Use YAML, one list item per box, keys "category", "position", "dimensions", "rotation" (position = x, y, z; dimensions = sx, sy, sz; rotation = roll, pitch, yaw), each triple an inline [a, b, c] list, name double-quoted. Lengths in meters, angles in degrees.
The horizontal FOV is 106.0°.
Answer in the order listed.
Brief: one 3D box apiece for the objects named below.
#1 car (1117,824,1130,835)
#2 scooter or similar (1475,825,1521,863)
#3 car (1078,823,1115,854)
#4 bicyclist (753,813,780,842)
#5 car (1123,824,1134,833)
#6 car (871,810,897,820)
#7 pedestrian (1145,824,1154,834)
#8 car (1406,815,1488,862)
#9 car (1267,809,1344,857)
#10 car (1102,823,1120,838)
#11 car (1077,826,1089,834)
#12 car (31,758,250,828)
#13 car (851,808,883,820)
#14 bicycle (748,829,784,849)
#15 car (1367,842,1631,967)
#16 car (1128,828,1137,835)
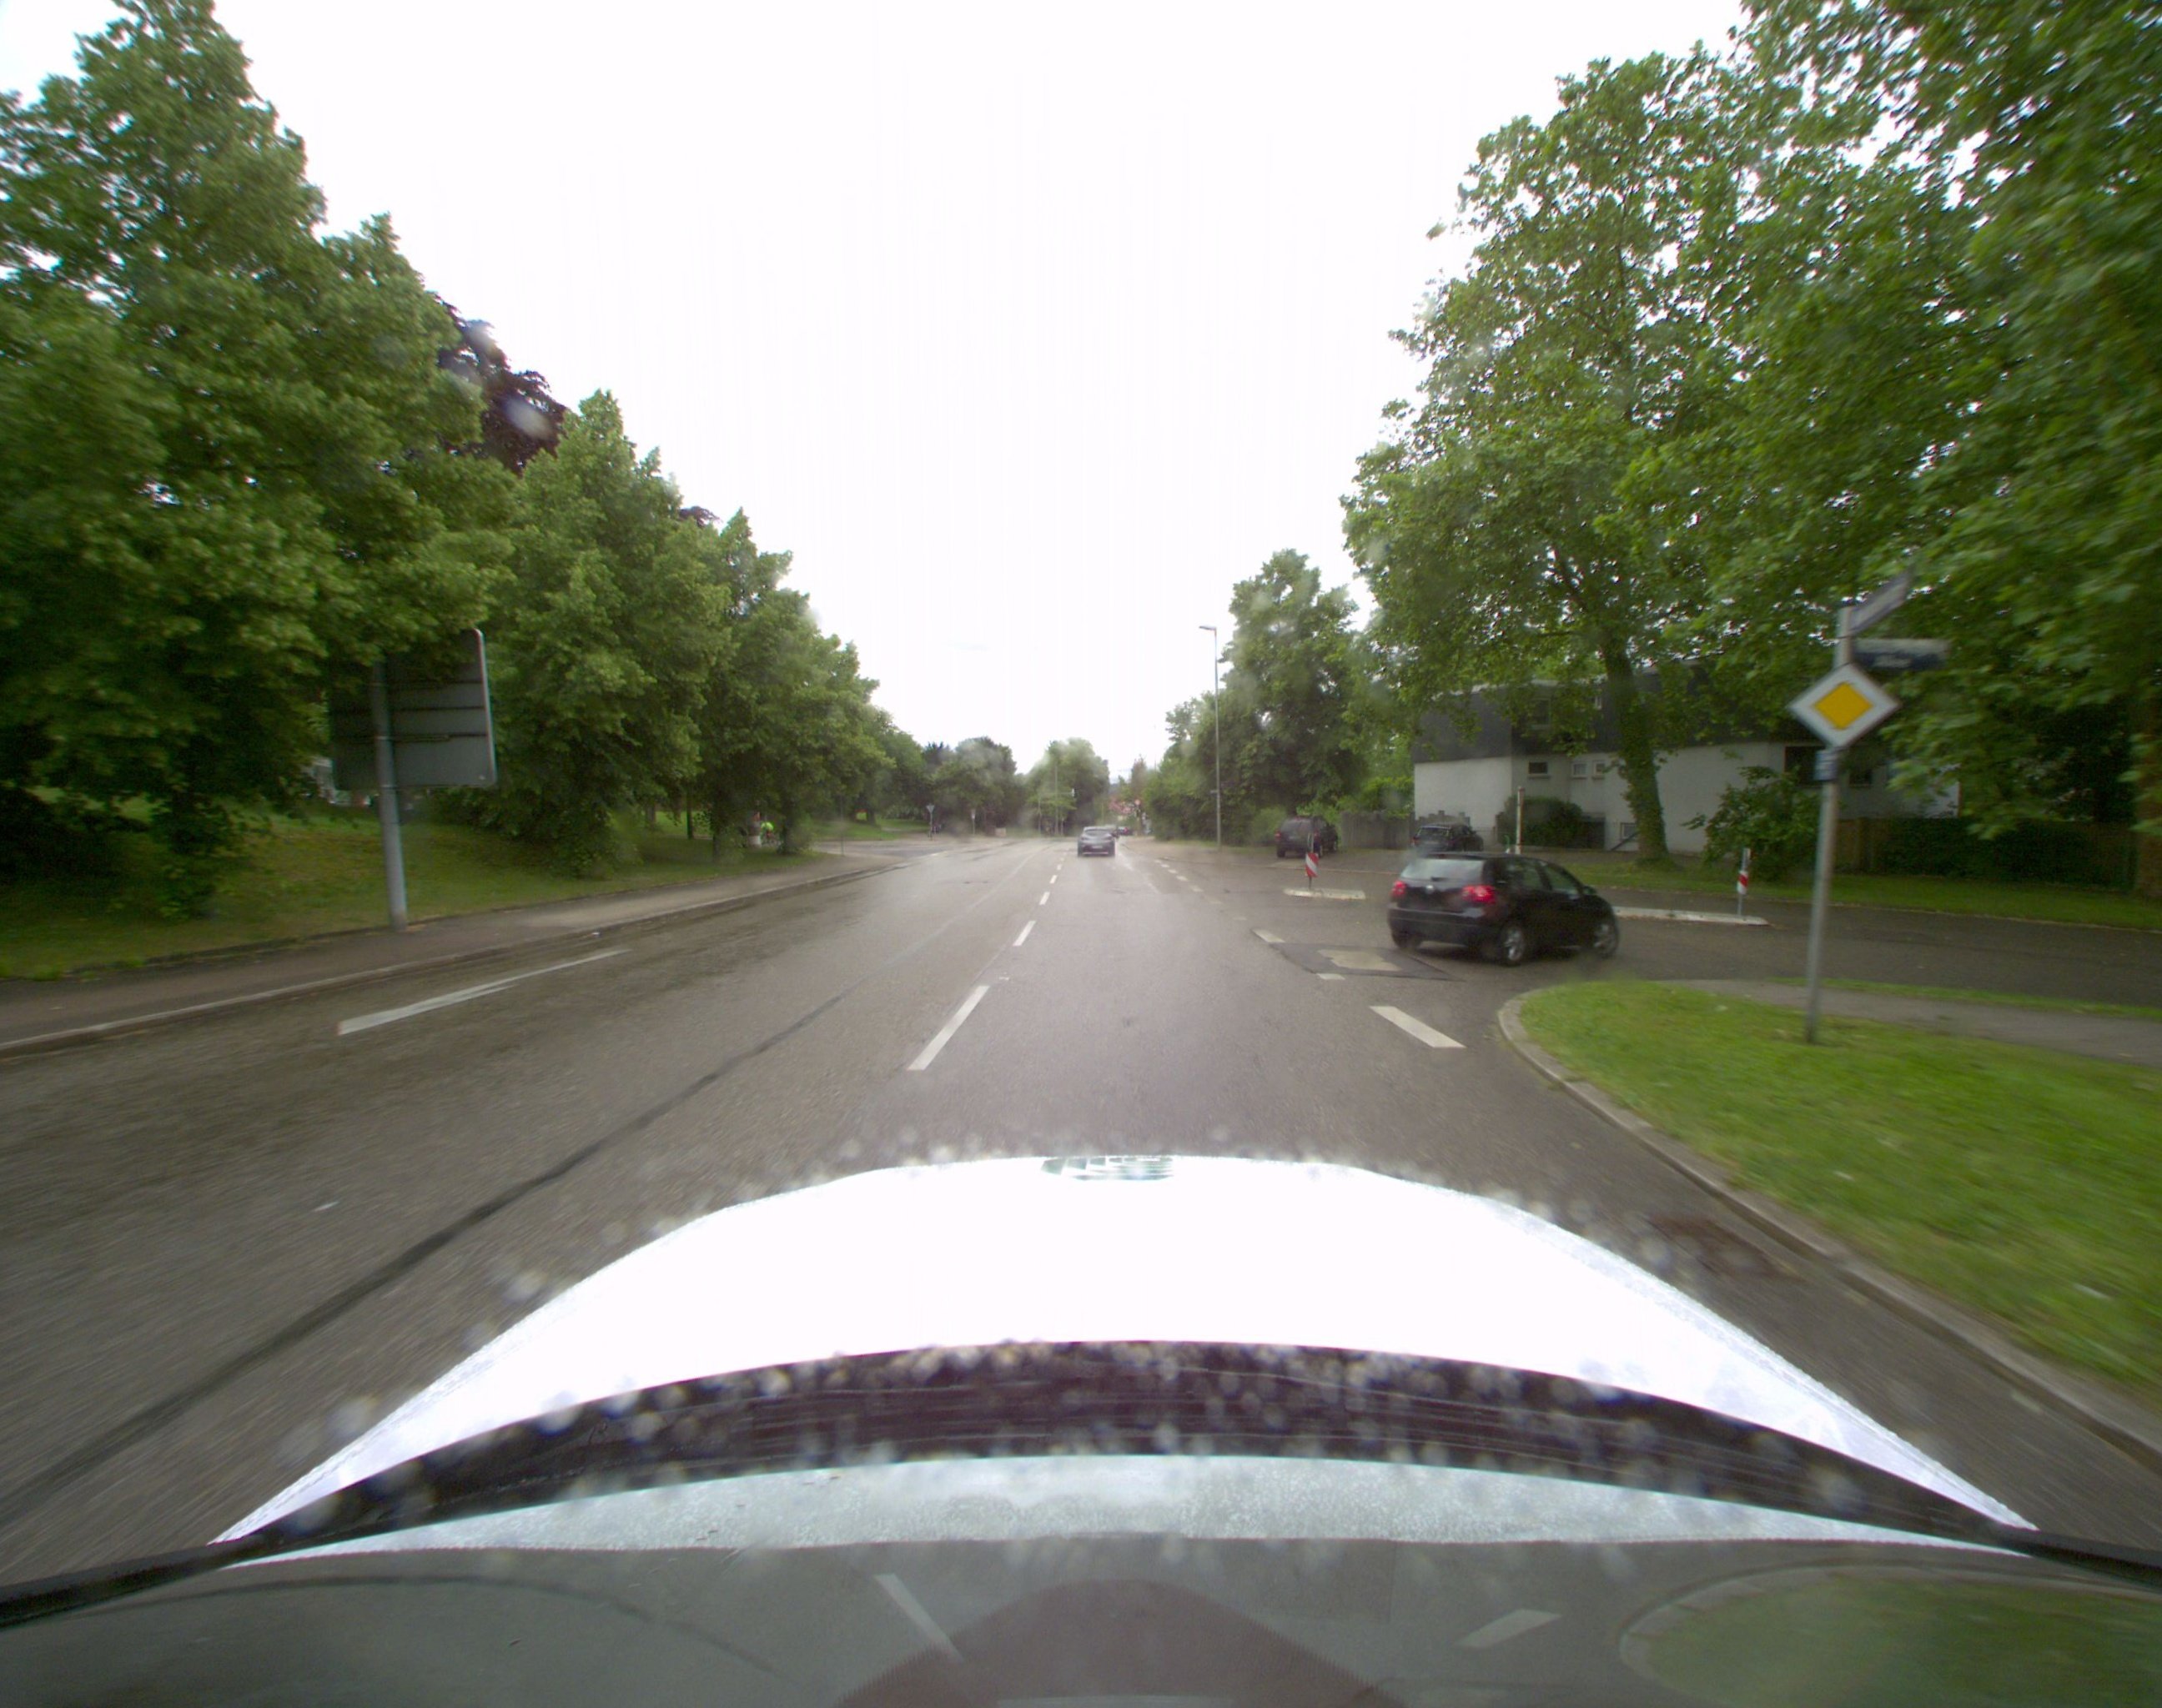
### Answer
- category: "car"
  position: [6.253, -3.581, 119.950]
  dimensions: [1.714, 1.463, 4.005]
  rotation: [2, 2, 4]
- category: "scooter or similar"
  position: [14.832, -0.360, 28.989]
  dimensions: [1.333, 1.285, 0.561]
  rotation: [-2, 1, -5]
- category: "car"
  position: [0.781, -0.800, 41.019]
  dimensions: [1.748, 1.464, 4.002]
  rotation: [-1, 1, 1]
- category: "bicyclist"
  position: [-19.235, -1.596, 49.885]
  dimensions: [1.270, 1.755, 0.859]
  rotation: [-1, 0, 23]
- category: "car"
  position: [7.937, -4.268, 135.616]
  dimensions: [1.714, 1.463, 4.005]
  rotation: [2, 2, 4]
- category: "car"
  position: [-30.402, -5.954, 125.641]
  dimensions: [3.907, 1.486, 1.924]
  rotation: [-1, 2, -18]
- category: "pedestrian"
  position: [9.650, -3.583, 114.958]
  dimensions: [1.066, 1.355, 0.921]
  rotation: [-2, 1, 12]
- category: "car"
  position: [14.125, -0.659, 31.304]
  dimensions: [1.734, 1.469, 4.596]
  rotation: [3, 6, 38]
- category: "car"
  position: [9.482, -0.959, 34.135]
  dimensions: [1.929, 1.688, 4.935]
  rotation: [2, 5, 29]
- category: "car"
  position: [3.199, -2.441, 85.665]
  dimensions: [1.714, 1.463, 4.005]
  rotation: [2, 2, 4]
- category: "car"
  position: [0.385, -4.091, 139.060]
  dimensions: [1.653, 1.306, 4.090]
  rotation: [-2, 3, 5]
- category: "car"
  position: [-39.419, -2.468, 34.442]
  dimensions: [5.697, 2.699, 2.134]
  rotation: [-1, 3, -38]
- category: "car"
  position: [-27.892, -5.220, 106.267]
  dimensions: [3.907, 1.486, 1.924]
  rotation: [-1, 2, -18]
- category: "bicycle"
  position: [-19.341, -0.934, 49.940]
  dimensions: [2.013, 1.155, 0.859]
  rotation: [-1, 1, 23]
- category: "car"
  position: [6.172, 0.654, 11.886]
  dimensions: [4.016, 1.463, 1.709]
  rotation: [2, 2, -35]
- category: "car"
  position: [10.531, -4.616, 166.669]
  dimensions: [1.714, 1.463, 4.005]
  rotation: [2, 2, 4]
